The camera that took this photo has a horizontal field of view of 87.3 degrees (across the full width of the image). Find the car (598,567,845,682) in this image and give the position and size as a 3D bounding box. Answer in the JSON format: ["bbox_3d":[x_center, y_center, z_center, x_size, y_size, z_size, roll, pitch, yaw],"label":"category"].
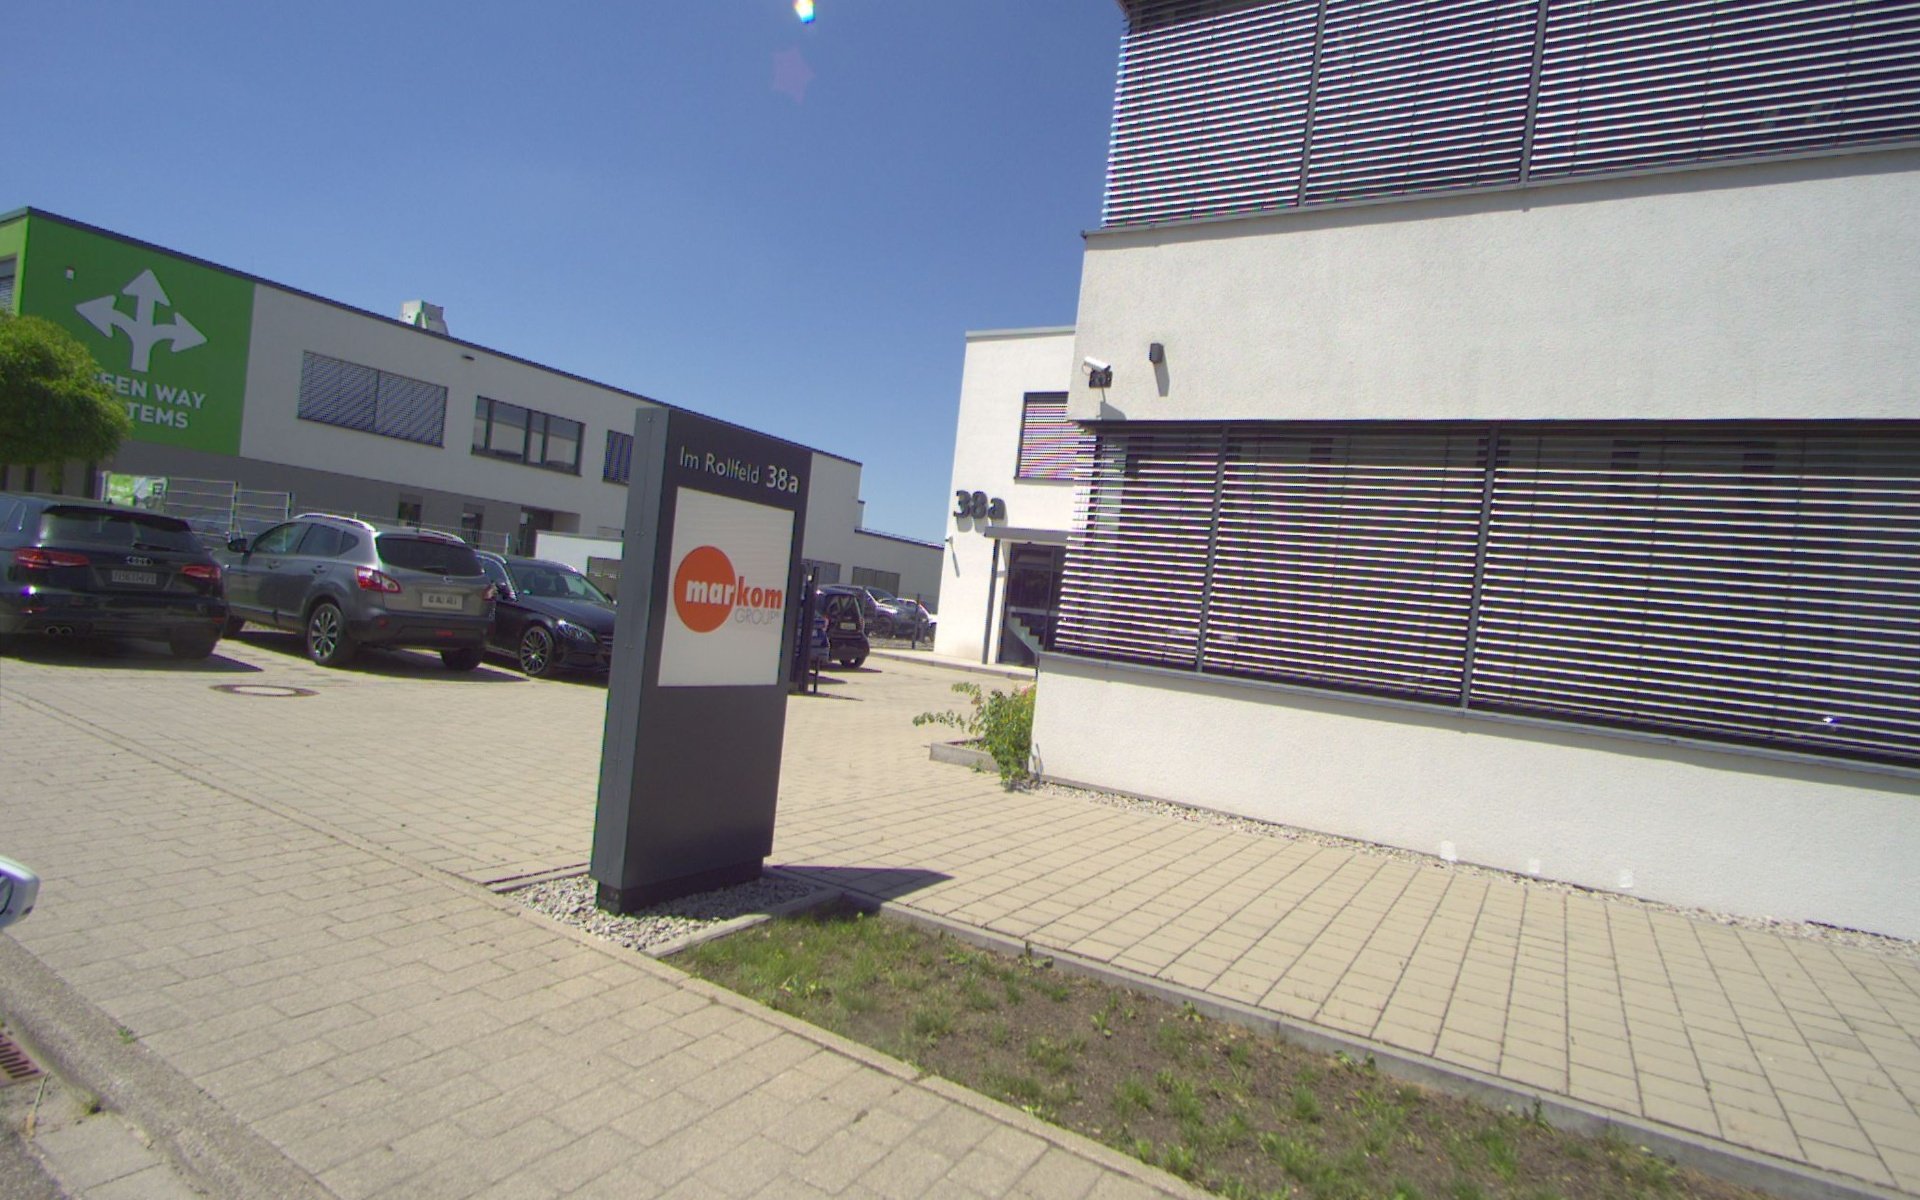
[{"bbox_3d":[-4.128,0.406,17.253,3.955,1.453,1.725,6,-1,32],"label":"car"}]

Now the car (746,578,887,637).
[{"bbox_3d":[-4.431,0.211,30.872,3.988,1.448,1.740,4,-1,31],"label":"car"}]

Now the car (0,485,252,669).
[{"bbox_3d":[-9.059,-0.322,10.008,4.175,1.445,1.695,6,-1,32],"label":"car"}]

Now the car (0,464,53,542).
[{"bbox_3d":[-35.262,-3.619,36.088,6.909,2.527,2.130,6,2,32],"label":"car"}]

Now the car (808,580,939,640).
[{"bbox_3d":[-2.882,0.327,33.400,3.988,1.624,1.740,4,-1,31],"label":"car"}]

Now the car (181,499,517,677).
[{"bbox_3d":[-7.405,-0.173,12.110,3.955,1.653,1.725,6,-1,32],"label":"car"}]

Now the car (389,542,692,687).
[{"bbox_3d":[-5.771,0.176,13.730,3.955,1.467,1.725,6,-1,32],"label":"car"}]
